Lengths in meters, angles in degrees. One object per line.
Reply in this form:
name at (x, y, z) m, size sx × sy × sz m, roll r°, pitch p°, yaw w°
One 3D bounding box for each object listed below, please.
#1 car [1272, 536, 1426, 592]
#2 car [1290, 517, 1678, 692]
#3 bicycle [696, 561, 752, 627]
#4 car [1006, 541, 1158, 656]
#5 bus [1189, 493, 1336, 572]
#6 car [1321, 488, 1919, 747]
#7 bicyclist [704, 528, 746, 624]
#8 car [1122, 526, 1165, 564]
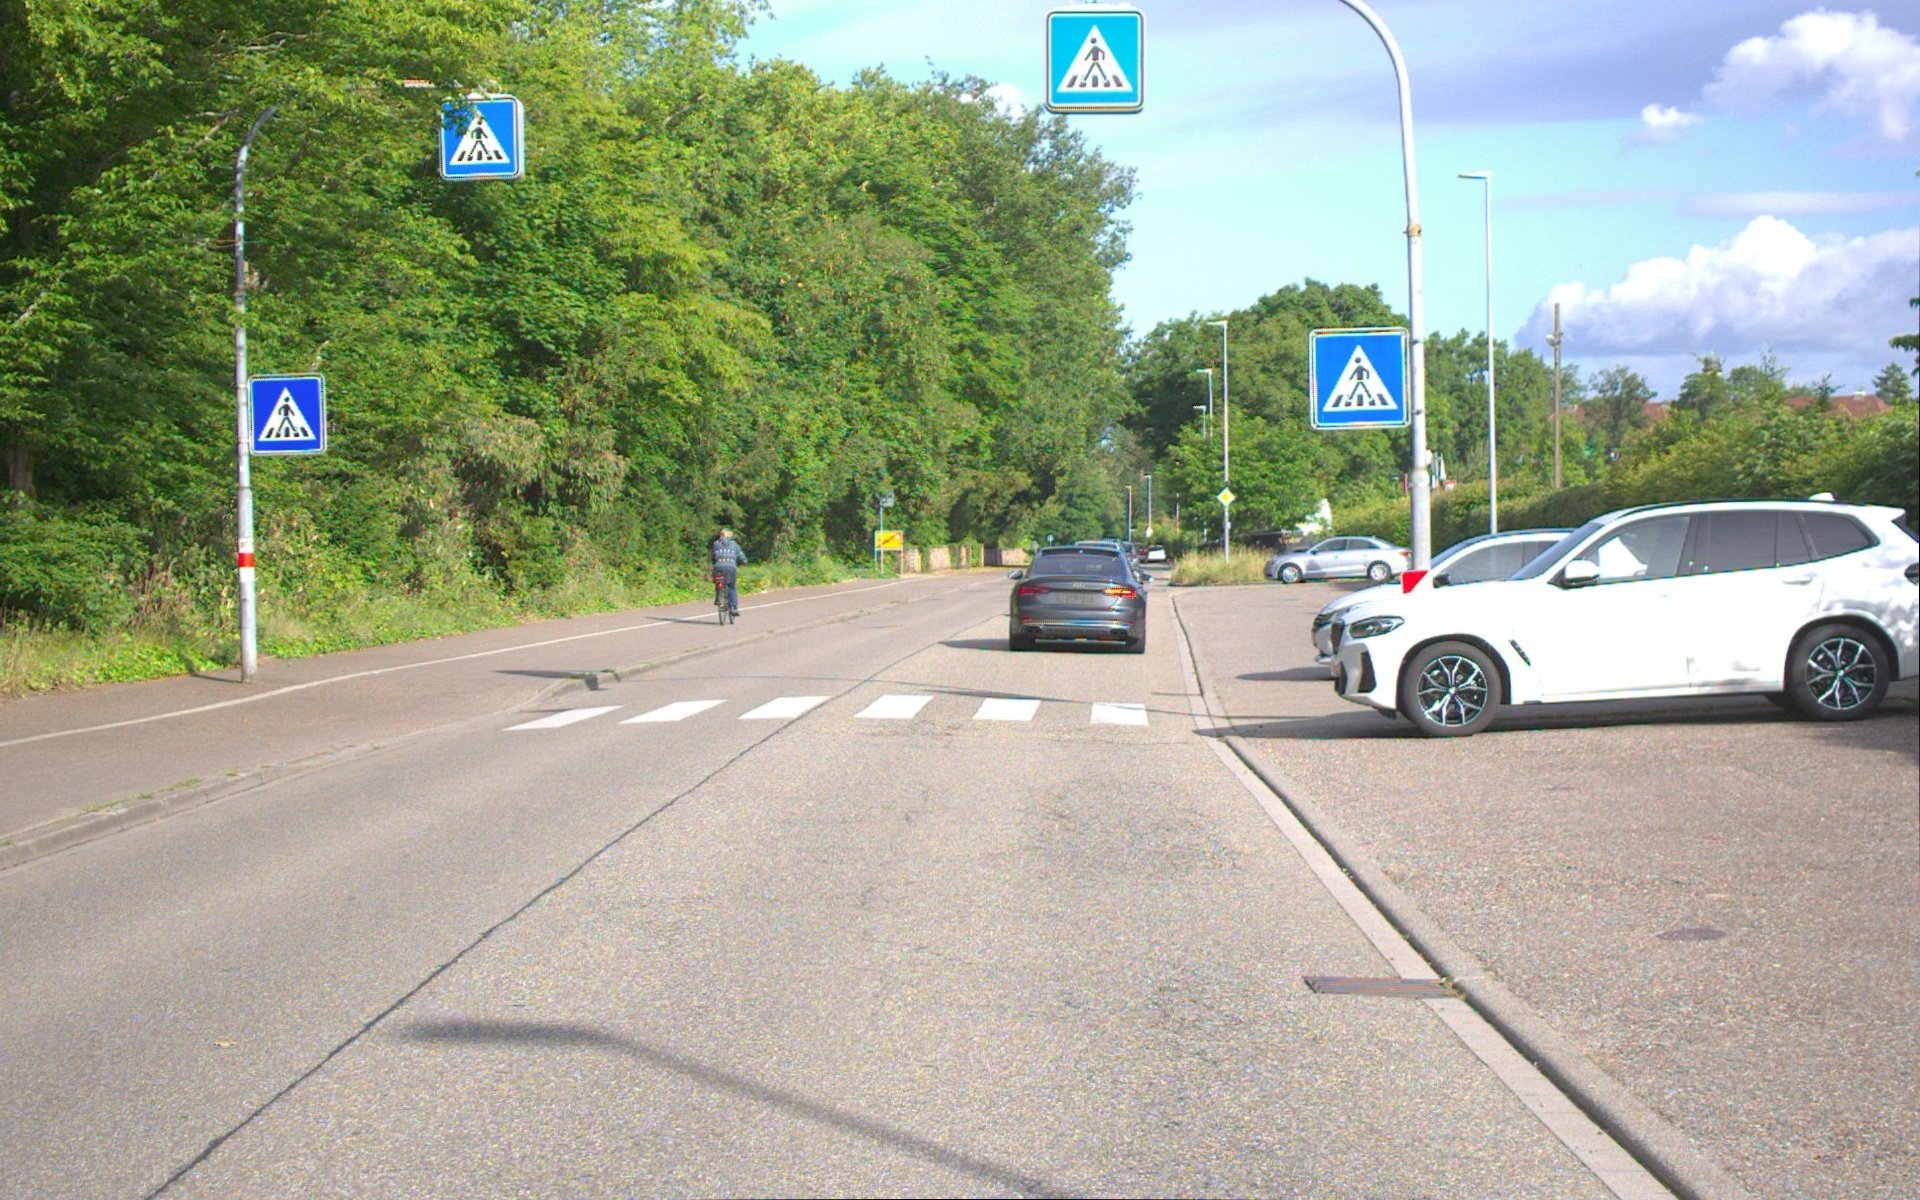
car at (11.534, -1.071, 101.736) m, size 4.364 × 1.438 × 1.932 m, roll -3°, pitch 1°, yaw 10°
car at (5.614, 0.027, 37.156) m, size 3.857 × 1.485 × 1.692 m, roll -5°, pitch 3°, yaw 2°
bicycle at (-4.162, -0.113, 60.822) m, size 0.662 × 1.093 × 2.348 m, roll 0°, pitch 2°, yaw 4°
car at (1.650, -0.057, 47.013) m, size 1.966 × 1.429 × 4.336 m, roll -1°, pitch 2°, yaw 2°
bus at (11.569, -2.595, 131.721) m, size 5.365 × 2.737 × 2.069 m, roll -3°, pitch 2°, yaw 1°
car at (5.136, 0.107, 26.234) m, size 4.588 × 1.693 × 1.763 m, roll -3°, pitch 1°, yaw 4°
bicyclist at (-4.154, -0.431, 60.868) m, size 0.608 × 1.671 × 0.883 m, roll 0°, pitch 2°, yaw 4°
car at (7.233, -2.169, 135.482) m, size 1.495 × 1.361 × 3.262 m, roll -2°, pitch 2°, yaw 6°
